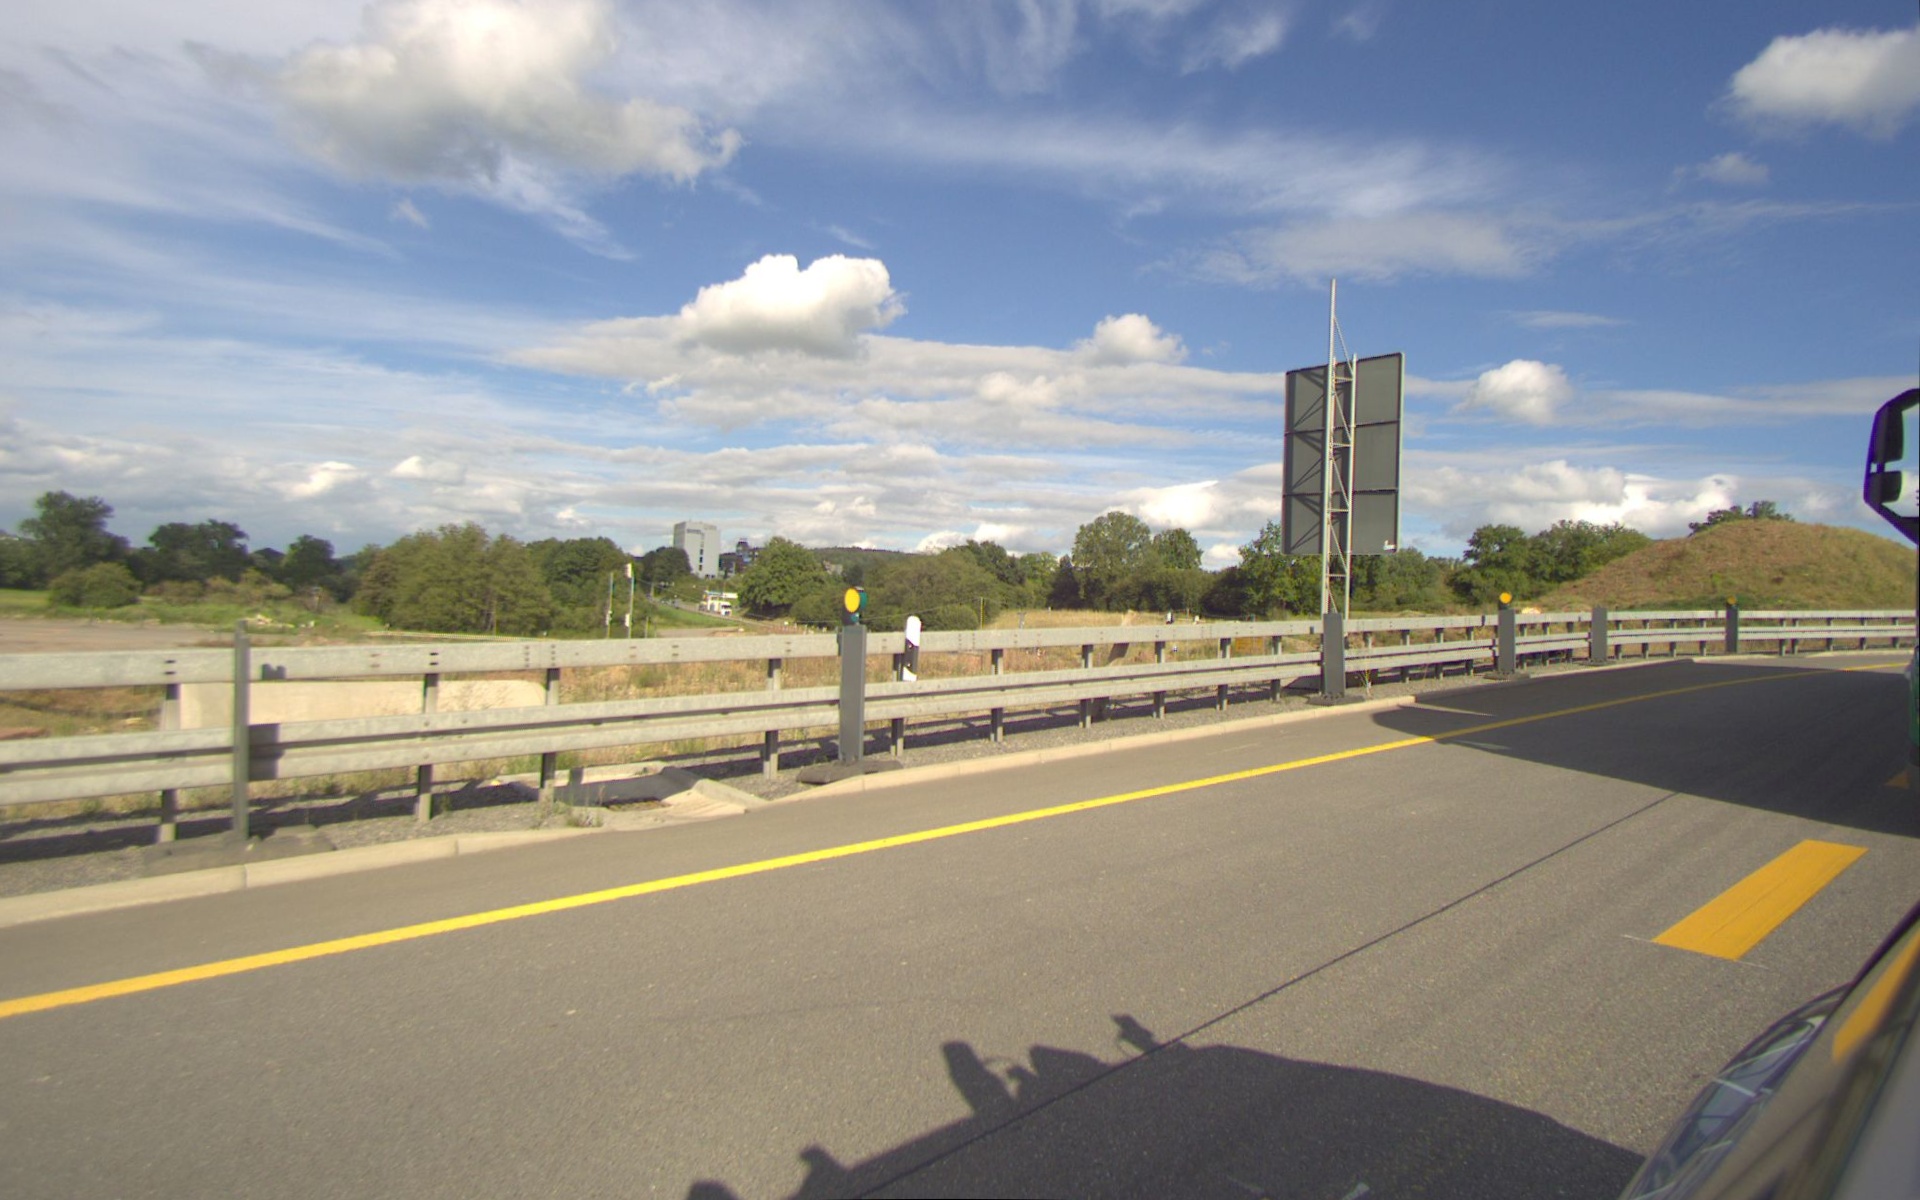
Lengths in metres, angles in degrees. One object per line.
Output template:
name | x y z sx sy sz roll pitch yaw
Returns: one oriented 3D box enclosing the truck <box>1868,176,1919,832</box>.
truck | 10.252 -0.678 8.481 10.138 3.895 2.661 -2 1 -41
